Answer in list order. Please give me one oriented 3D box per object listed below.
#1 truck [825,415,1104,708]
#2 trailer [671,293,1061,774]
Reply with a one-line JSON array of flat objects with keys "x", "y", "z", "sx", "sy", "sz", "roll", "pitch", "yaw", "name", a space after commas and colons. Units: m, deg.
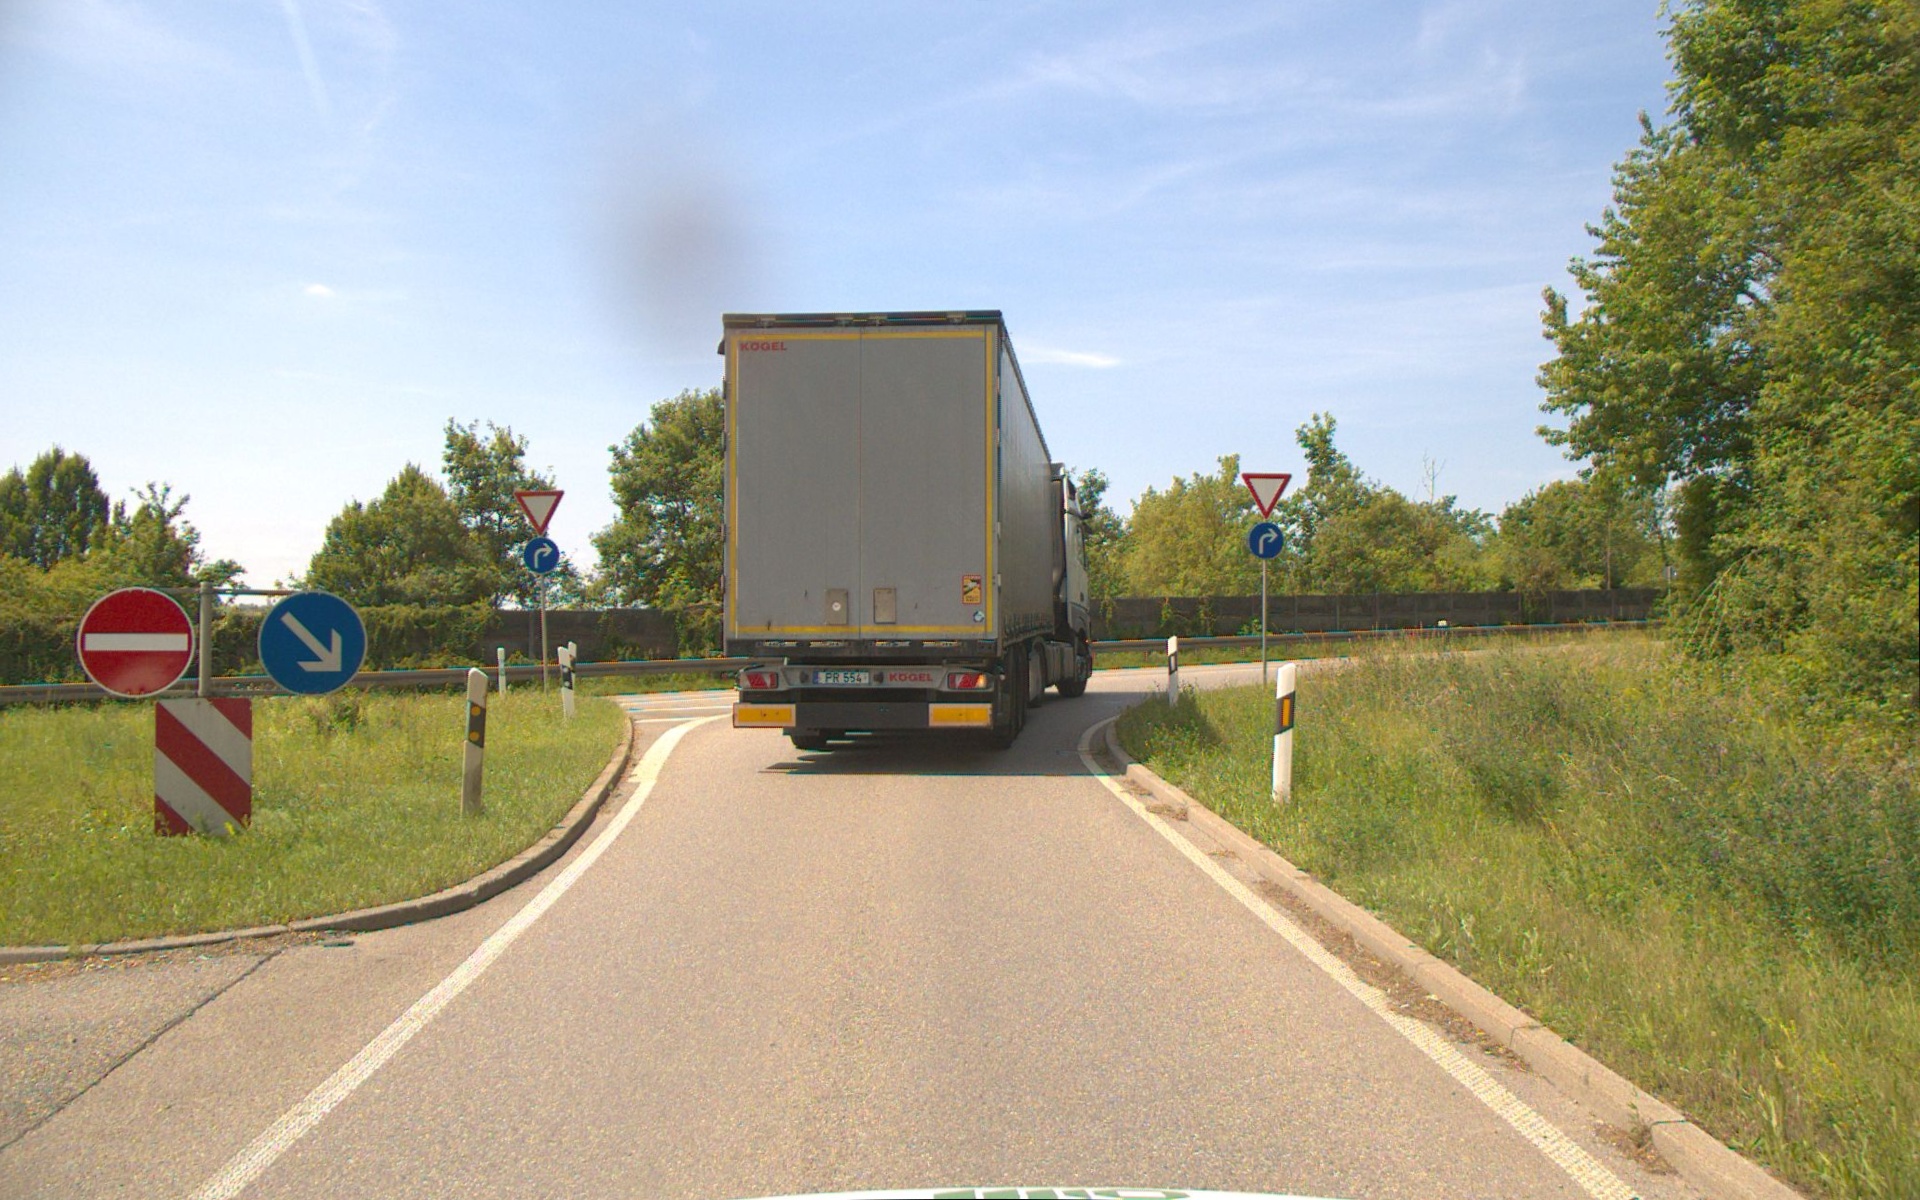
[{"x": 0.327, "y": -0.477, "z": 28.137, "sx": 3.085, "sy": 4.299, "sz": 7.127, "roll": -1, "pitch": -1, "yaw": 14, "name": "truck"}, {"x": -0.428, "y": -0.489, "z": 20.923, "sx": 2.963, "sy": 4.105, "sz": 13.359, "roll": -1, "pitch": -1, "yaw": 5, "name": "trailer"}]
